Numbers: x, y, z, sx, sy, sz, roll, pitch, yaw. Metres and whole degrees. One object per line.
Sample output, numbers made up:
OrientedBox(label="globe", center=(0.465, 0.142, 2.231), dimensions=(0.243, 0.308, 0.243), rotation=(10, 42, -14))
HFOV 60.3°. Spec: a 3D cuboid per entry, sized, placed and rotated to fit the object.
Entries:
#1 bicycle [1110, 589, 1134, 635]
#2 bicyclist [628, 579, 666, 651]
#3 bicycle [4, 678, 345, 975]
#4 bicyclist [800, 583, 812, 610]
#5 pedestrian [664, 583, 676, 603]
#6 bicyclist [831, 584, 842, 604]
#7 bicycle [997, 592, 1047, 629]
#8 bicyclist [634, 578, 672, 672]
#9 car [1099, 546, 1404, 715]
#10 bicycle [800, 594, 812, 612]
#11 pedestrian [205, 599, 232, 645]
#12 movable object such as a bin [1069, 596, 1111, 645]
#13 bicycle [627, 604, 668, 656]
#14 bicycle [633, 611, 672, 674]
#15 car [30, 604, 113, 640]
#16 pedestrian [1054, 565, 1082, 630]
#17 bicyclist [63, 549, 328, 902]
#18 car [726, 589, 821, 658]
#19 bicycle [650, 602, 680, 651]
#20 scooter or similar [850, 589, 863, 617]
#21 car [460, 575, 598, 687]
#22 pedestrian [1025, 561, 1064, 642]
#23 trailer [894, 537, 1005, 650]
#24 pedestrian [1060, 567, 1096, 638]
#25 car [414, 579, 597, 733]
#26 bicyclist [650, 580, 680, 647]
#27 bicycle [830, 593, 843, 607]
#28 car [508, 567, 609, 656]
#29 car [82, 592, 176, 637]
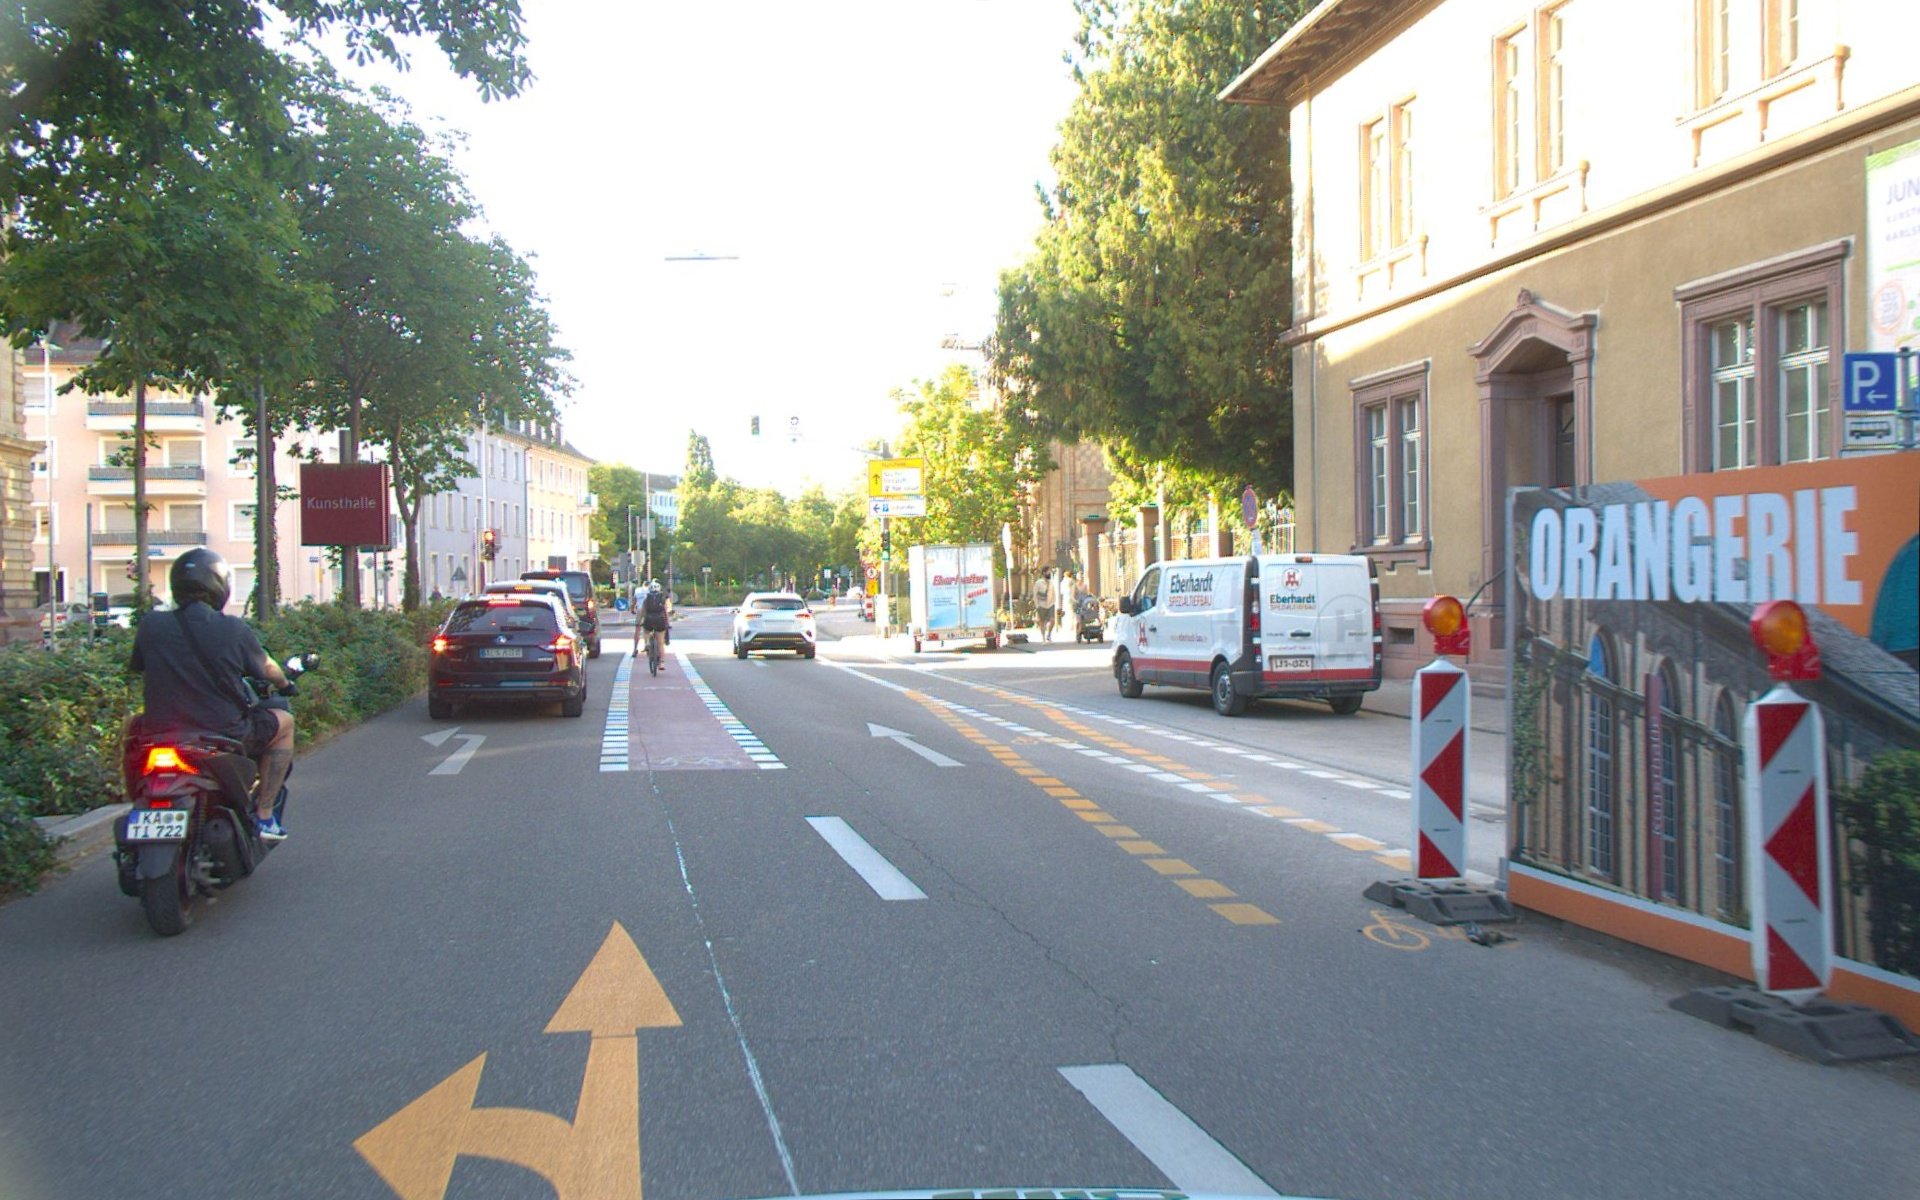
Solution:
OrientedBox(label="bicycle", center=(4.101, 0.294, 41.833), dimensions=(0.268, 1.125, 1.530), rotation=(-3, 1, -5))
OrientedBox(label="bicyclist", center=(-7.316, 0.350, 38.642), dimensions=(0.788, 1.636, 0.823), rotation=(-1, 0, -8))
OrientedBox(label="bicycle", center=(-3.637, 0.973, 7.939), dimensions=(0.854, 1.061, 2.448), rotation=(0, 0, -10))
OrientedBox(label="bicyclist", center=(-9.476, -0.233, 101.796), dimensions=(0.623, 1.642, 1.283), rotation=(0, 0, -2))
OrientedBox(label="pedestrian", center=(-27.049, -0.649, 154.274), dimensions=(0.838, 1.883, 1.002), rotation=(-2, 0, 4))
OrientedBox(label="bicyclist", center=(-9.745, -0.507, 130.344), dimensions=(0.731, 1.564, 0.970), rotation=(-1, 0, 6))
OrientedBox(label="bicycle", center=(1.880, 0.315, 50.419), dimensions=(1.439, 1.057, 0.478), rotation=(-2, 1, -10))
OrientedBox(label="bicyclist", center=(-5.575, 0.445, 30.078), dimensions=(0.660, 1.681, 0.885), rotation=(0, 0, -10))
OrientedBox(label="car", center=(3.723, 0.359, 22.379), dimensions=(1.981, 1.979, 5.460), rotation=(0, 0, -15))
OrientedBox(label="bicycle", center=(-9.458, 0.174, 101.597), dimensions=(0.630, 1.042, 2.211), rotation=(0, 1, -2))
OrientedBox(label="pedestrian", center=(-26.797, 0.785, 59.793), dimensions=(0.619, 1.611, 0.817), rotation=(2, 0, -8))
OrientedBox(label="movable object such as a bin", center=(3.156, 0.494, 40.221), dimensions=(0.699, 1.137, 1.048), rotation=(-3, 1, -12))
OrientedBox(label="bicycle", center=(-7.290, 0.683, 38.662), dimensions=(0.813, 1.163, 1.966), rotation=(0, 0, -8))
OrientedBox(label="bicycle", center=(-5.597, 0.758, 30.166), dimensions=(0.656, 1.091, 1.749), rotation=(0, 0, -9))
OrientedBox(label="car", center=(-36.127, 0.889, 67.366), dimensions=(1.575, 1.333, 3.994), rotation=(-1, 1, -7))
OrientedBox(label="pedestrian", center=(3.029, -0.078, 46.413), dimensions=(0.627, 1.799, 0.736), rotation=(-1, 1, -7))
OrientedBox(label="bicyclist", center=(-3.618, 0.553, 7.946), dimensions=(0.852, 1.550, 1.228), rotation=(1, 0, -11))
OrientedBox(label="car", center=(-4.484, 0.521, 39.347), dimensions=(1.957, 1.478, 3.990), rotation=(-2, 0, -10))
OrientedBox(label="bicycle", center=(-7.374, 0.640, 41.418), dimensions=(0.630, 1.175, 2.073), rotation=(0, 0, -8))
OrientedBox(label="scooter or similar", center=(-5.052, 0.121, 80.811), dimensions=(0.544, 1.331, 1.831), rotation=(-1, 1, -3))
OrientedBox(label="car", center=(-7.592, 0.483, 29.523), dimensions=(1.955, 1.780, 4.736), rotation=(-1, 1, -10))
OrientedBox(label="pedestrian", center=(2.074, 0.028, 40.618), dimensions=(0.703, 1.927, 0.887), rotation=(-2, 1, -13))
OrientedBox(label="trailer", center=(-0.329, -0.188, 41.647), dimensions=(2.041, 2.572, 4.483), rotation=(-3, 1, -9))
OrientedBox(label="pedestrian", center=(2.926, 0.061, 41.092), dimensions=(0.670, 1.731, 0.692), rotation=(-2, 1, -11))
OrientedBox(label="car", center=(-5.645, 0.613, 21.046), dimensions=(1.959, 1.686, 4.721), rotation=(-1, 1, -13))
OrientedBox(label="bicyclist", center=(-7.380, 0.328, 41.406), dimensions=(0.657, 1.636, 0.823), rotation=(-1, 0, -8))
OrientedBox(label="bicycle", center=(-9.742, 0.011, 130.309), dimensions=(0.737, 1.044, 1.870), rotation=(0, 0, 6))
OrientedBox(label="car", center=(-9.517, 0.258, 39.561), dimensions=(2.031, 1.949, 5.020), rotation=(-2, 0, -11))
OrientedBox(label="car", center=(-33.943, 0.568, 67.716), dimensions=(1.956, 1.715, 4.607), rotation=(-1, 1, -7))
